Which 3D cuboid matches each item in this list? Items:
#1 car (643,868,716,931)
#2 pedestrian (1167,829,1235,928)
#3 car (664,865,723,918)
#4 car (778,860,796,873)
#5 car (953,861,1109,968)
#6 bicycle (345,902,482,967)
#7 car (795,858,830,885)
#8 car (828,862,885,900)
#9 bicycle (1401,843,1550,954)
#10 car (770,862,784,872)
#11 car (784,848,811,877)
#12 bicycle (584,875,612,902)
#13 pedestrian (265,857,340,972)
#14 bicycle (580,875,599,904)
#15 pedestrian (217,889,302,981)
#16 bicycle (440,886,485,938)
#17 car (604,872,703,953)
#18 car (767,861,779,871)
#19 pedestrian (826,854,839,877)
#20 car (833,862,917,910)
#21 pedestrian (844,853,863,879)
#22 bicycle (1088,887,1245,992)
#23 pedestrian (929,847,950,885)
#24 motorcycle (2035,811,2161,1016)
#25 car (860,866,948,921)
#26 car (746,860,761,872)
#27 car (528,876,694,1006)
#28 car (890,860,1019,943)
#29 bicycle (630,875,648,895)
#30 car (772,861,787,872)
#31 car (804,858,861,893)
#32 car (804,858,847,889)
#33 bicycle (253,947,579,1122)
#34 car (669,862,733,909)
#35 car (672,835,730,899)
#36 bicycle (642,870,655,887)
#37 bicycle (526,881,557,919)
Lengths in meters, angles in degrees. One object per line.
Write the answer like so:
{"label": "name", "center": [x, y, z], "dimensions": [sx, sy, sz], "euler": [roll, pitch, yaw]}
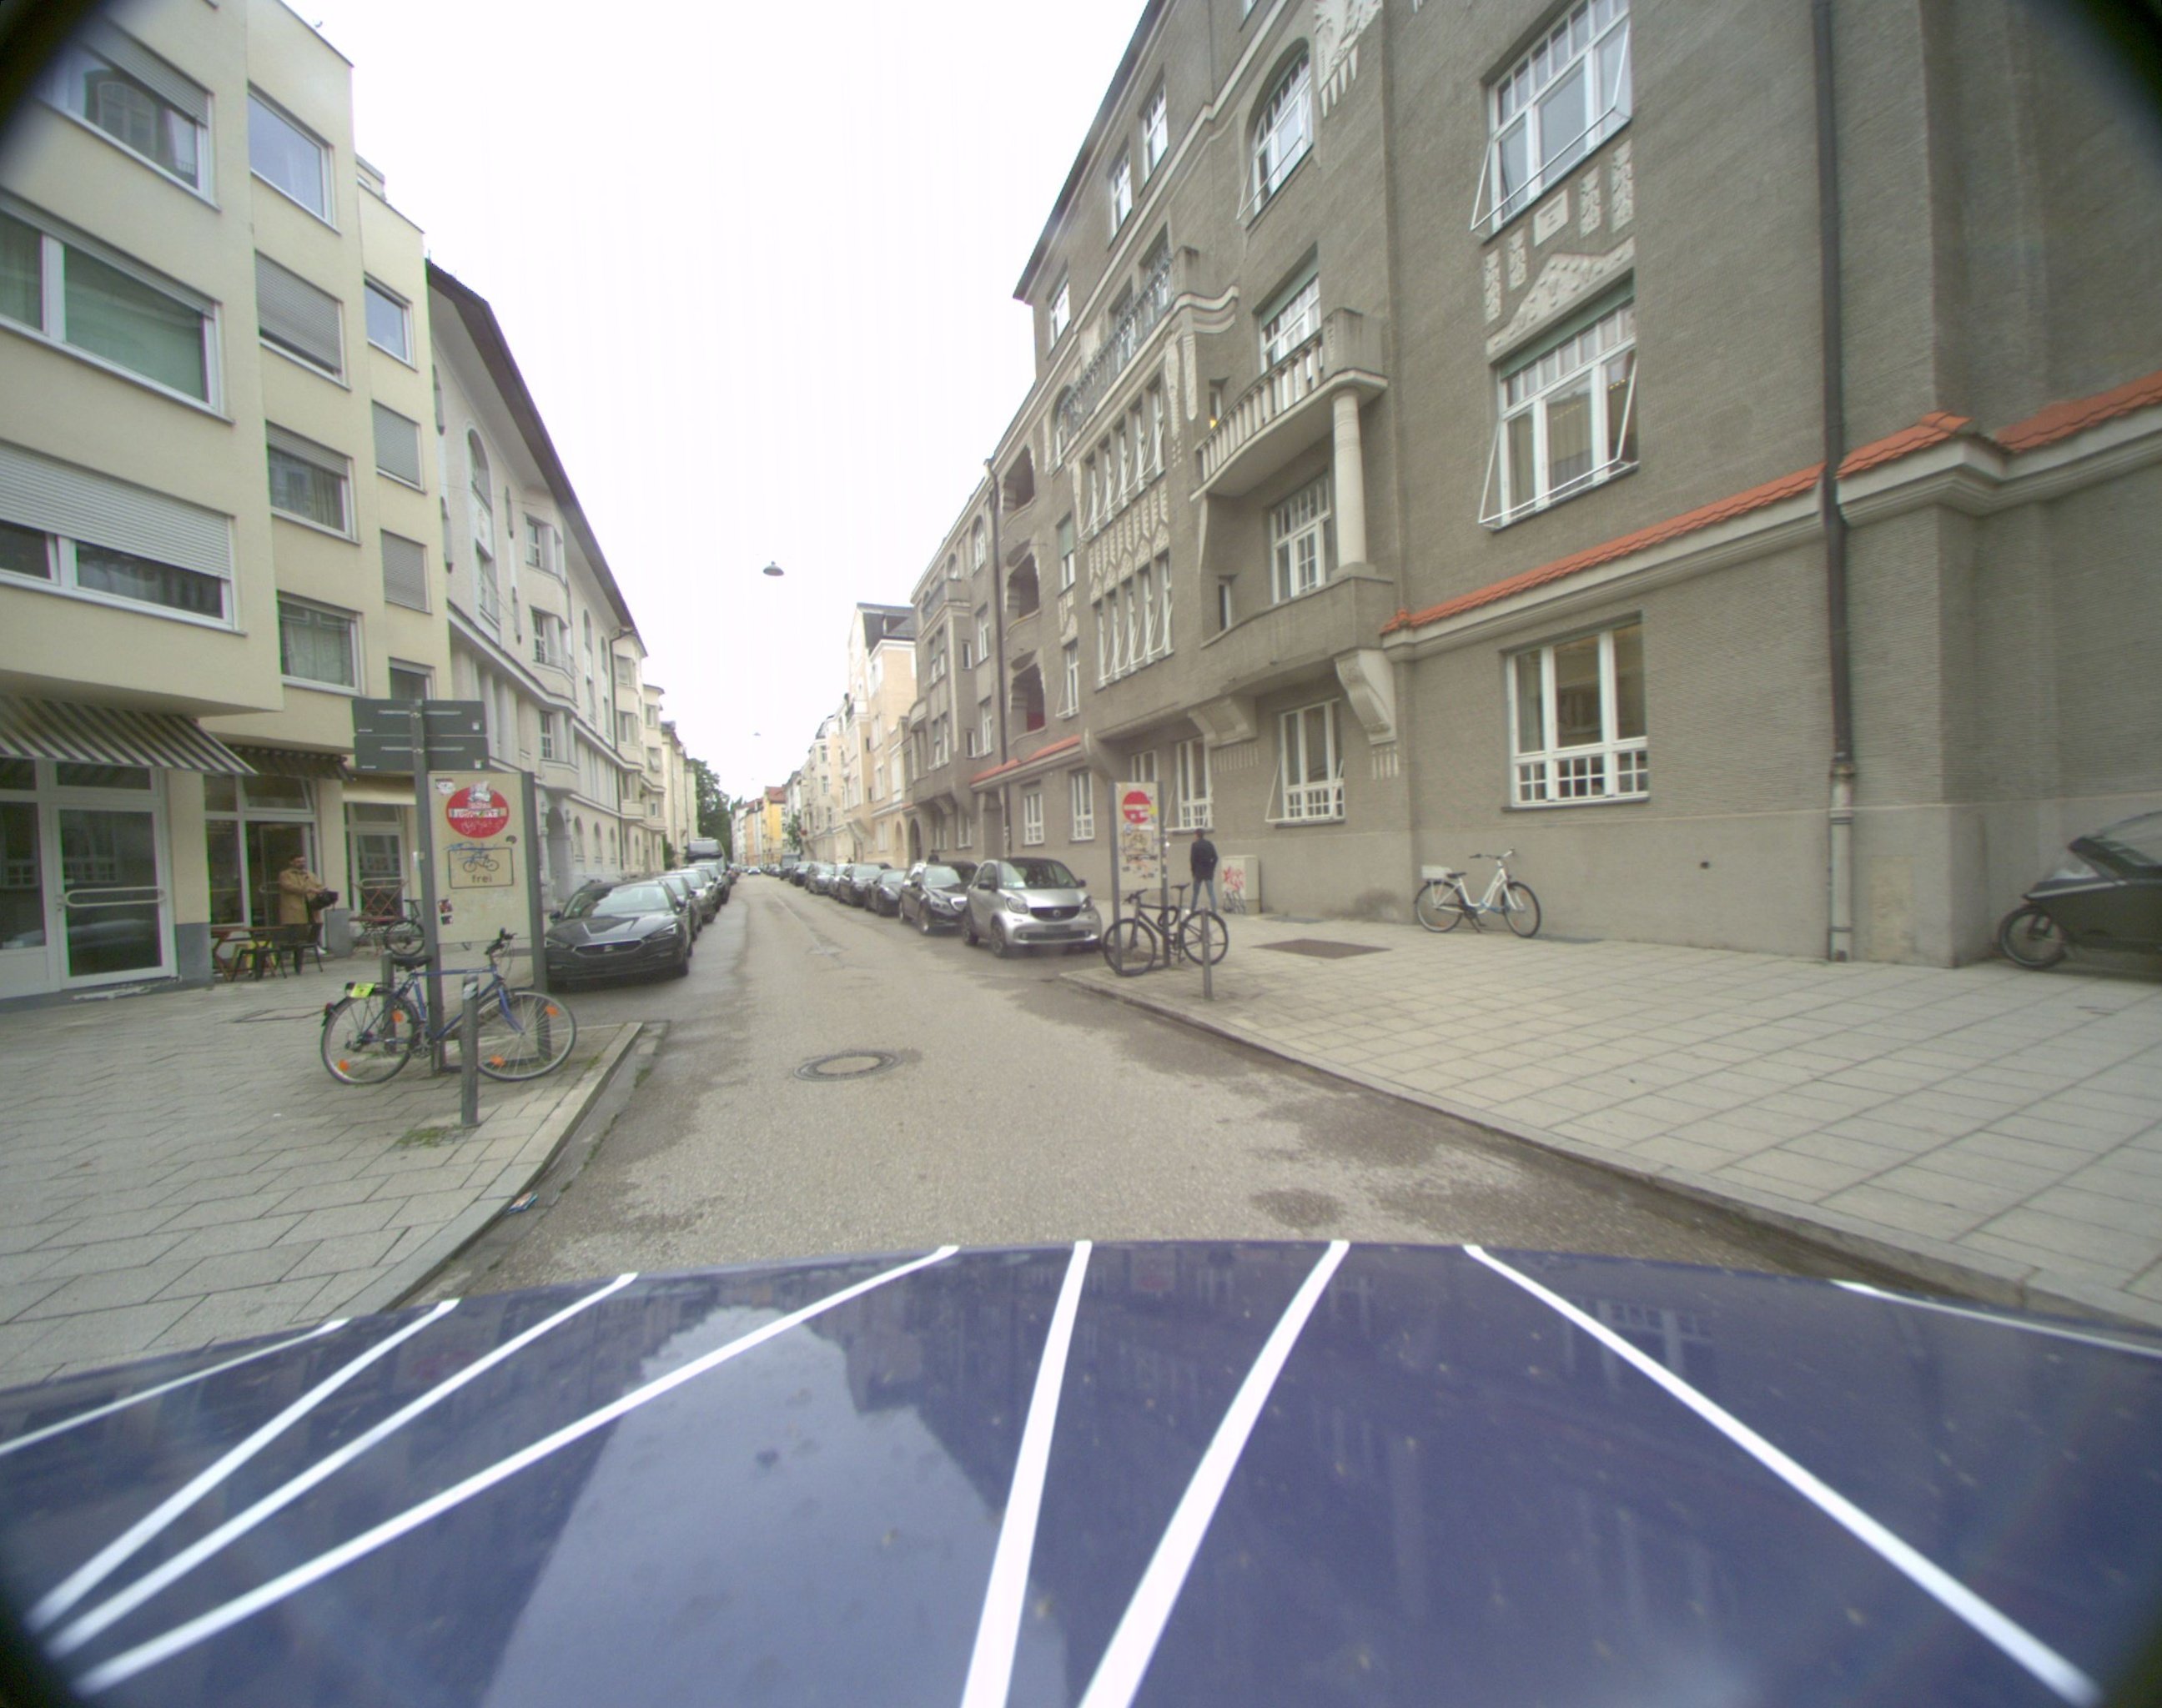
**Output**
{"label": "car", "center": [-11.594, 1.224, 21.989], "dimensions": [1.641, 1.528, 3.846], "euler": [-4, 1, -28]}
{"label": "pedestrian", "center": [2.266, 0.443, 14.408], "dimensions": [0.842, 1.777, 0.934], "euler": [-4, 2, -21]}
{"label": "car", "center": [-13.665, 1.250, 26.872], "dimensions": [1.641, 1.583, 3.960], "euler": [-4, 1, -26]}
{"label": "car", "center": [-35.116, 1.455, 90.743], "dimensions": [1.686, 1.390, 3.698], "euler": [-4, 1, -24]}
{"label": "car", "center": [-0.939, 0.900, 12.733], "dimensions": [1.711, 1.506, 2.905], "euler": [-2, 0, -23]}
{"label": "bicycle", "center": [-12.312, 1.452, 14.100], "dimensions": [0.752, 1.026, 1.801], "euler": [-1, 0, 12]}
{"label": "car", "center": [-18.207, 1.150, 51.403], "dimensions": [1.959, 1.649, 4.609], "euler": [-3, 1, -22]}
{"label": "car", "center": [-9.551, 1.080, 32.124], "dimensions": [1.813, 1.423, 4.431], "euler": [-1, 0, -22]}
{"label": "bicycle", "center": [5.220, 0.552, 10.169], "dimensions": [0.621, 1.342, 1.671], "euler": [-4, 1, -28]}
{"label": "car", "center": [-45.646, 1.991, 114.044], "dimensions": [1.686, 1.390, 3.697], "euler": [-4, 1, -25]}
{"label": "car", "center": [-27.264, 0.783, 72.875], "dimensions": [2.108, 2.606, 5.667], "euler": [-2, 0, -23]}
{"label": "bicycle", "center": [-22.151, 1.554, 34.860], "dimensions": [0.483, 1.144, 1.785], "euler": [-3, 1, -15]}
{"label": "pedestrian", "center": [-13.025, 0.990, 12.710], "dimensions": [1.013, 1.836, 0.744], "euler": [-2, -2, 38]}
{"label": "bicycle", "center": [-21.133, 1.515, 32.693], "dimensions": [0.484, 1.144, 1.784], "euler": [0, 0, -26]}
{"label": "pedestrian", "center": [-13.259, 1.293, 12.275], "dimensions": [0.532, 1.390, 0.674], "euler": [-3, 1, 9]}
{"label": "bicycle", "center": [-15.326, 1.412, 18.854], "dimensions": [0.566, 1.185, 1.673], "euler": [0, 0, -29]}
{"label": "car", "center": [-9.595, 1.216, 17.315], "dimensions": [1.641, 1.463, 3.847], "euler": [-4, 1, -26]}
{"label": "car", "center": [-53.273, 2.009, 131.410], "dimensions": [1.686, 1.628, 3.697], "euler": [-4, 1, -25]}
{"label": "pedestrian", "center": [-20.248, 0.924, 61.966], "dimensions": [0.839, 1.779, 0.739], "euler": [-4, 2, -24]}
{"label": "car", "center": [-7.417, 1.059, 27.022], "dimensions": [2.002, 1.440, 4.769], "euler": [-3, 1, -25]}
{"label": "pedestrian", "center": [-15.448, 0.821, 51.530], "dimensions": [0.997, 1.719, 0.937], "euler": [-4, 2, -24]}
{"label": "bicycle", "center": [1.052, 0.993, 9.168], "dimensions": [1.810, 1.009, 0.539], "euler": [-4, 2, -25]}
{"label": "pedestrian", "center": [-6.831, 0.574, 36.611], "dimensions": [0.720, 1.807, 0.729], "euler": [-4, 2, -25]}
{"label": "motorcycle", "center": [8.151, 0.405, 5.040], "dimensions": [0.739, 1.432, 2.142], "euler": [-4, 1, -25]}
{"label": "car", "center": [-5.216, 1.058, 22.027], "dimensions": [1.763, 1.323, 4.088], "euler": [-3, 1, -23]}
{"label": "car", "center": [-52.317, 1.952, 121.420], "dimensions": [2.002, 1.788, 3.992], "euler": [-4, 1, -26]}
{"label": "car", "center": [-7.234, 1.180, 12.137], "dimensions": [1.700, 1.463, 4.601], "euler": [-4, 1, -26]}
{"label": "car", "center": [-2.986, 0.931, 17.006], "dimensions": [1.763, 1.506, 4.698], "euler": [-3, 1, -23]}
{"label": "bicycle", "center": [-27.083, 1.893, 46.572], "dimensions": [0.644, 1.111, 1.964], "euler": [-4, 1, -23]}
{"label": "car", "center": [-41.874, 1.673, 105.410], "dimensions": [1.686, 1.390, 3.697], "euler": [-4, 1, -25]}
{"label": "car", "center": [-12.136, 0.988, 36.938], "dimensions": [1.845, 1.504, 4.598], "euler": [-3, 1, -28]}
{"label": "car", "center": [-14.395, 1.080, 42.678], "dimensions": [1.811, 1.563, 3.806], "euler": [-4, 1, -25]}
{"label": "bicycle", "center": [-4.731, 1.267, 5.476], "dimensions": [1.795, 1.079, 0.666], "euler": [-2, -1, 3]}
{"label": "car", "center": [-15.937, 1.259, 32.086], "dimensions": [2.002, 1.679, 4.665], "euler": [-4, 1, -23]}
{"label": "car", "center": [-19.656, 0.584, 39.563], "dimensions": [2.264, 2.943, 6.119], "euler": [-4, 2, -24]}
{"label": "bicycle", "center": [-30.013, 1.693, 52.724], "dimensions": [0.495, 1.111, 1.964], "euler": [-4, 1, -24]}
{"label": "bicycle", "center": [-17.864, 1.512, 25.200], "dimensions": [0.483, 1.144, 1.784], "euler": [-4, 1, -26]}
